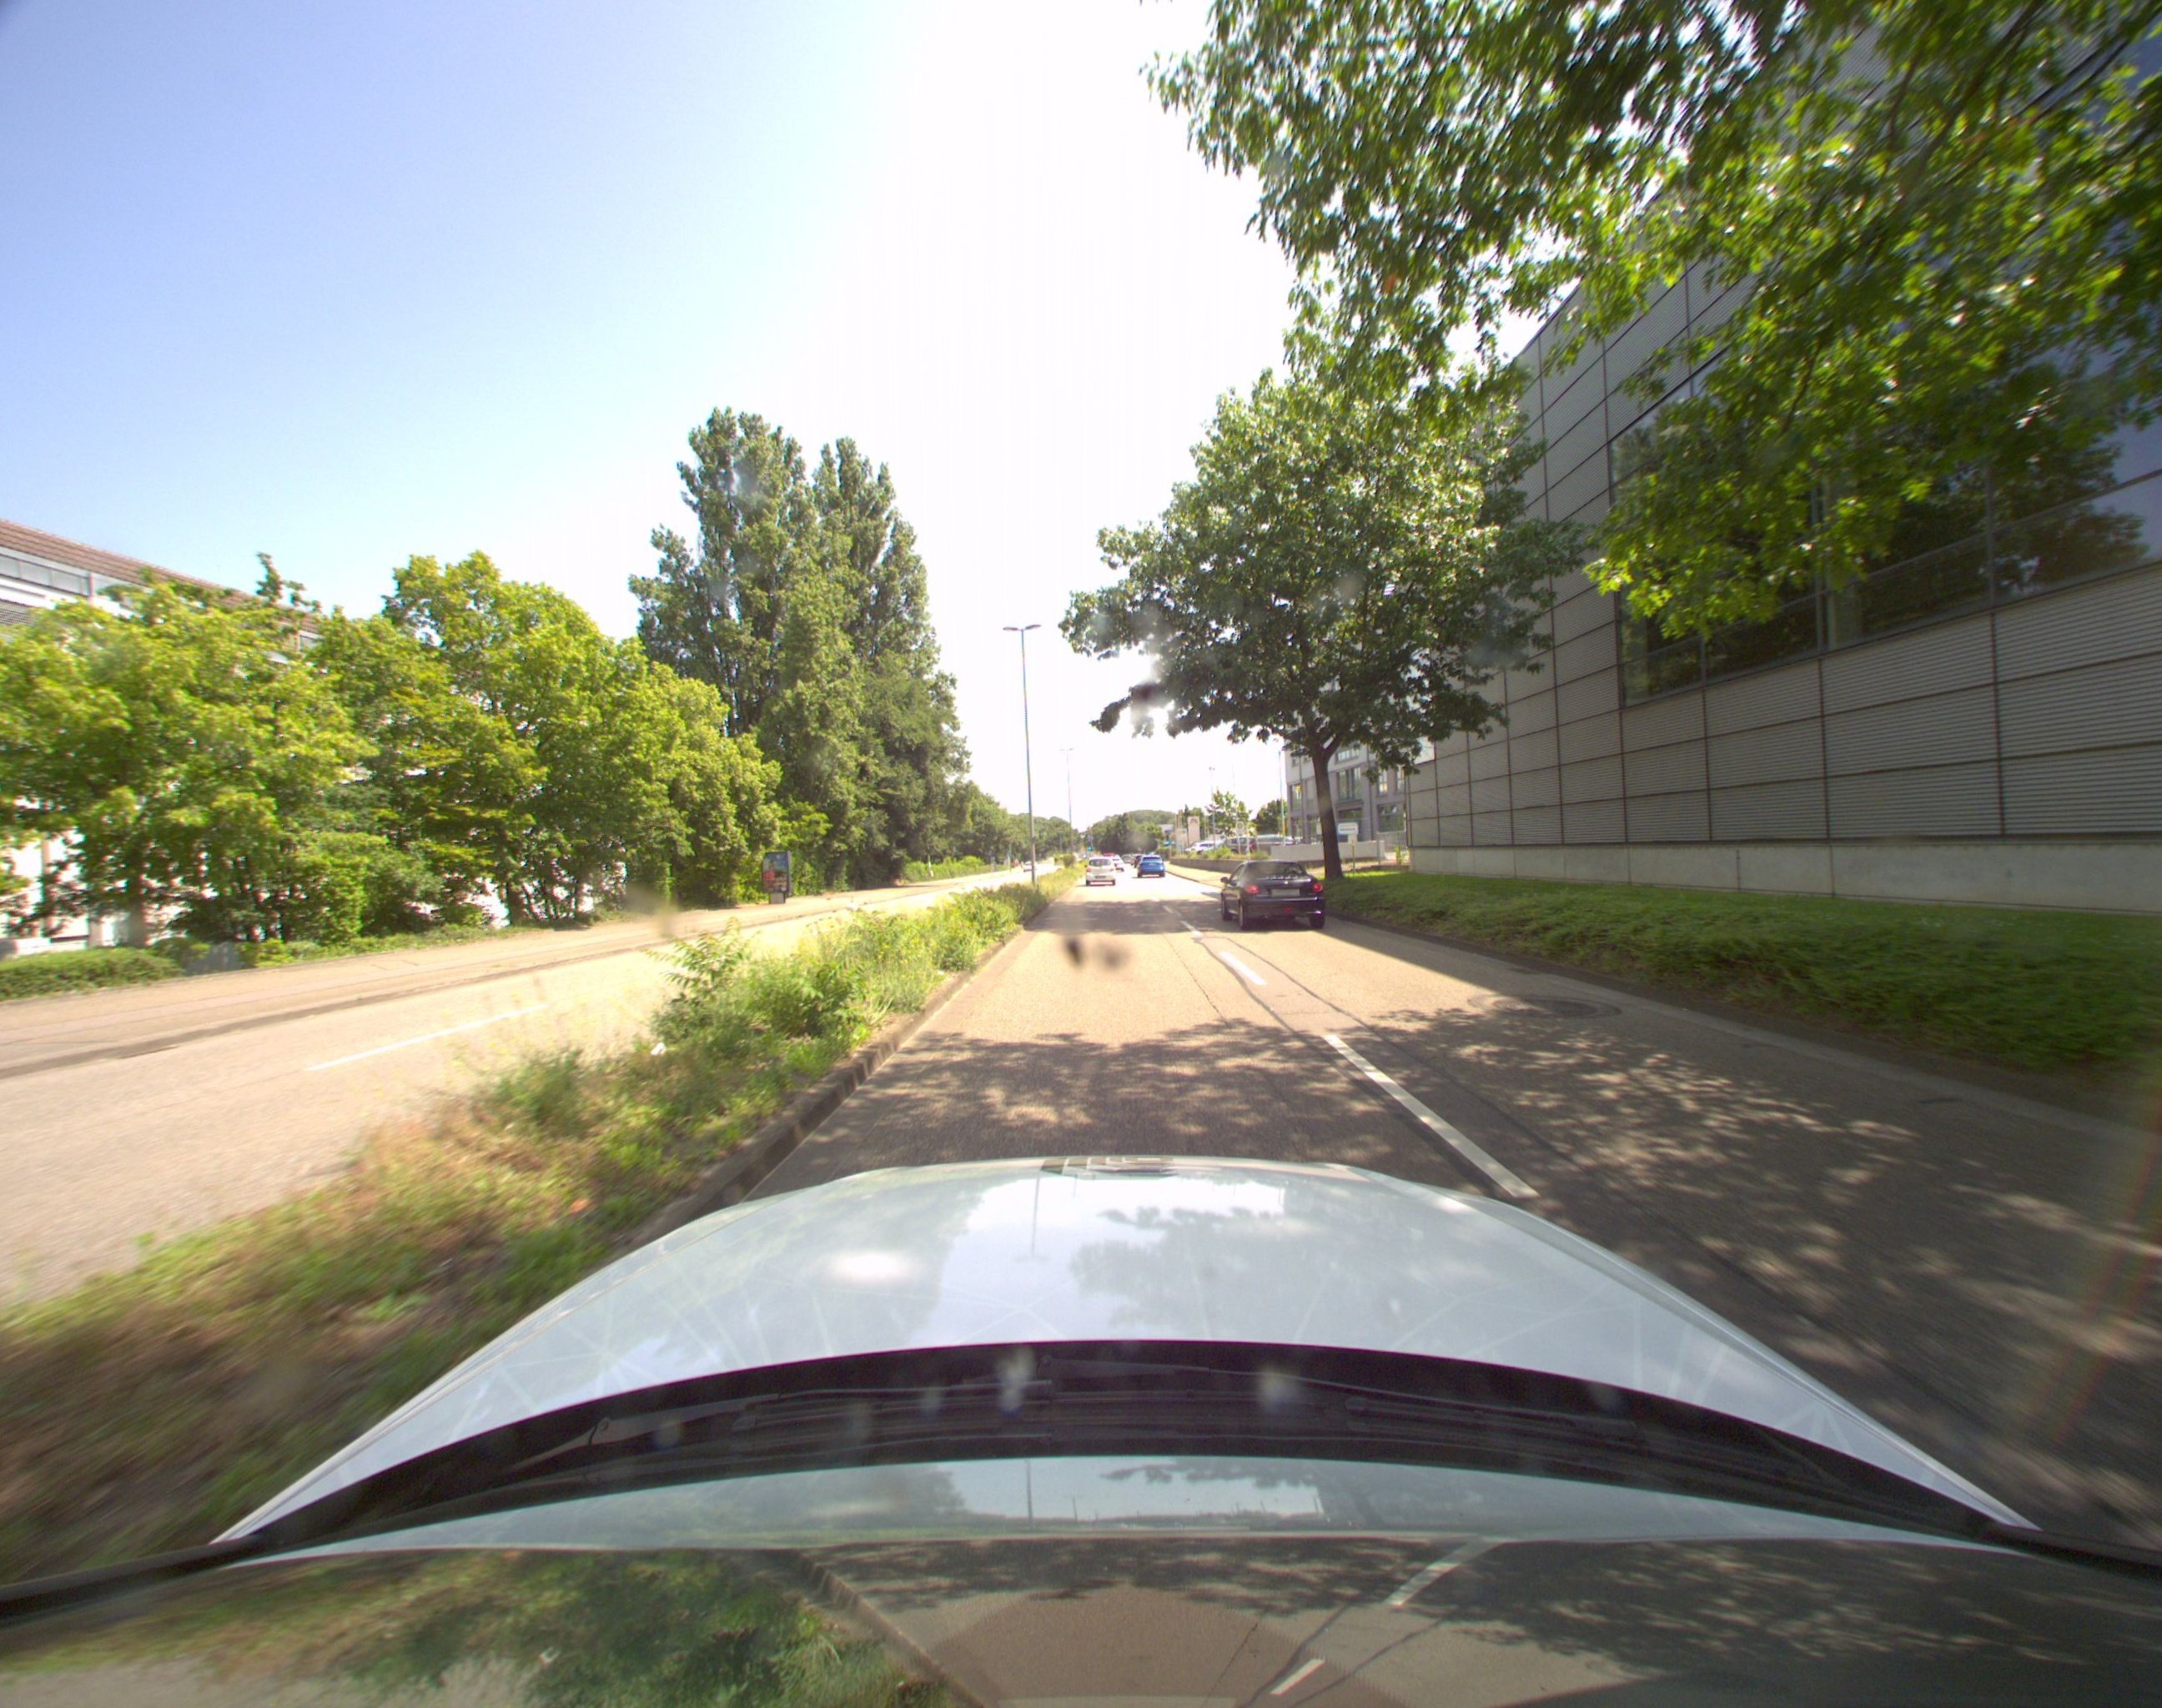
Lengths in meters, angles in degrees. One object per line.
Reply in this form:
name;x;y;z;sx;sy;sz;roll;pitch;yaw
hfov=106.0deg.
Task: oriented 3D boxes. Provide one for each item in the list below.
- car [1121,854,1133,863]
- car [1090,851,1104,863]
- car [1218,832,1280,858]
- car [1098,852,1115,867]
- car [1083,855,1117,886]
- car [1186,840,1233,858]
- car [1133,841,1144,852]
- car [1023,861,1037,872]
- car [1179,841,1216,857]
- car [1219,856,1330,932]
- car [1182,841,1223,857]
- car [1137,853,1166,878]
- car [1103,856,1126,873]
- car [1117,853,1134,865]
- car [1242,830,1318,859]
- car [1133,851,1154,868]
car;7.879;0.801;139.768;1.987;1.508;4.000;-3;0;1
car;2.431;0.440;125.045;1.815;1.661;3.996;-3;1;-3
car;12.817;-0.666;62.351;4.213;1.647;2.000;-4;0;0
car;3.119;0.634;100.529;1.771;1.740;3.997;-3;0;-2
car;1.083;0.889;44.437;1.741;1.520;3.748;-2;1;3
car;13.268;-0.520;84.256;4.519;1.544;2.000;-4;0;1
car;11.630;-1.484;164.009;1.765;2.013;3.988;-3;0;-2
car;-7.709;1.888;122.999;1.730;1.413;4.370;-3;0;0
car;13.652;-0.569;95.530;3.975;1.544;1.999;-4;0;-1
car;3.998;0.766;17.344;1.621;1.364;3.607;-1;1;2
car;13.823;-0.588;92.784;4.334;1.544;1.999;-4;0;-1
car;4.963;0.799;57.668;1.820;1.580;3.608;-3;1;3
car;3.218;0.985;78.827;1.987;1.442;4.000;-3;0;1
car;5.788;0.642;106.056;1.986;1.420;4.001;-4;0;1
car;13.041;-0.599;53.609;4.484;1.583;2.000;-4;0;0
car;6.910;0.584;89.860;1.986;1.640;4.001;-3;0;1
